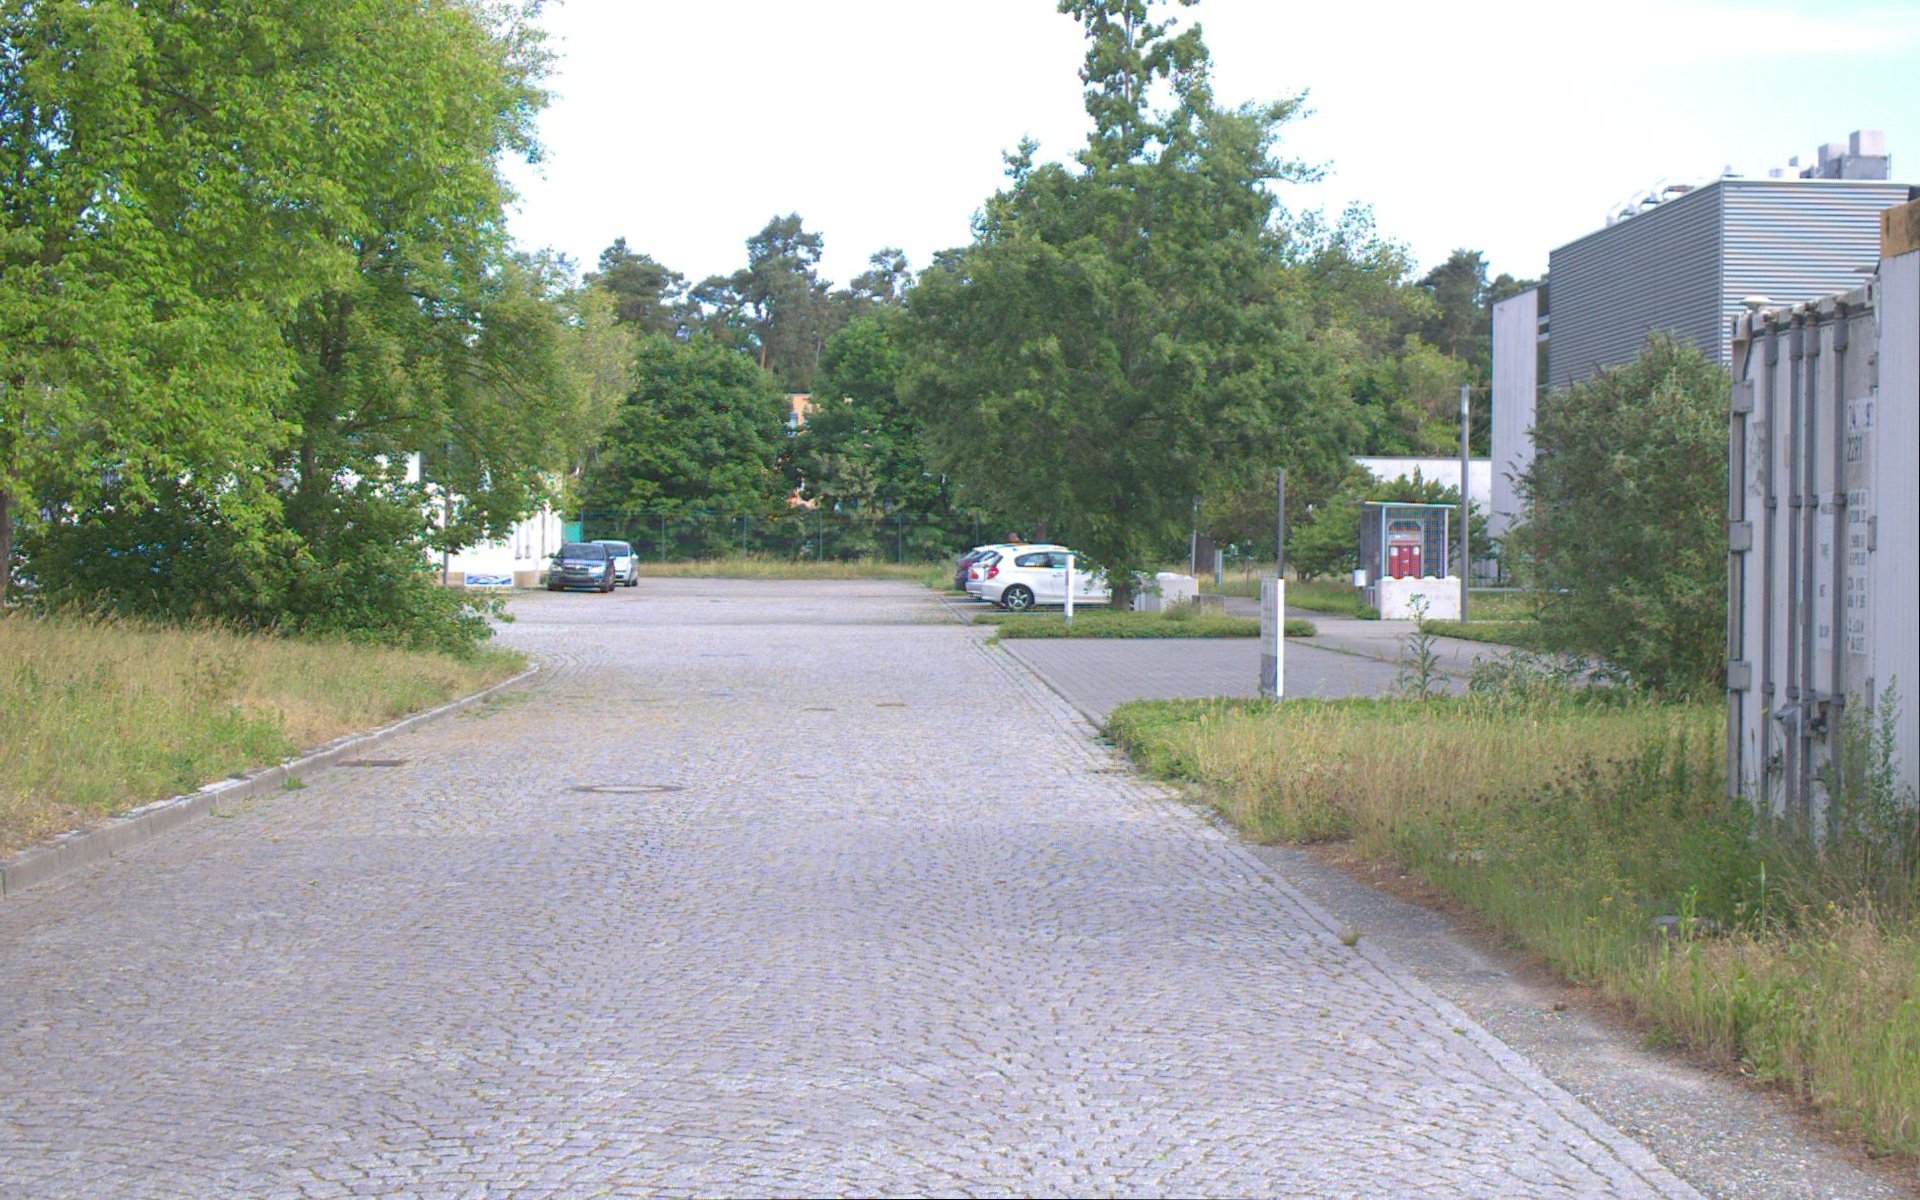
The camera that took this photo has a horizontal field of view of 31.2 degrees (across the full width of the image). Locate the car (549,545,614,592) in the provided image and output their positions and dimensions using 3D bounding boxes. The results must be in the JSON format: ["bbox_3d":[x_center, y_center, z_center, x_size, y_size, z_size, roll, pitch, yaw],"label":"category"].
[{"bbox_3d":[-11.150,-0.949,101.386,1.748,1.359,4.001,0,1,-4],"label":"car"}]

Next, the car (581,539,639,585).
[{"bbox_3d":[-11.361,-1.256,111.613,1.748,1.449,4.001,0,1,-4],"label":"car"}]

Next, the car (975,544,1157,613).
[{"bbox_3d":[2.376,-0.481,77.730,3.987,1.450,2.000,1,0,-1],"label":"car"}]

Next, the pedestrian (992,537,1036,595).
[{"bbox_3d":[1.461,-0.922,93.298,0.969,1.563,0.942,1,1,17],"label":"pedestrian"}]

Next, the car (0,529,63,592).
[{"bbox_3d":[-24.485,-1.032,88.194,1.900,1.569,4.000,0,1,0],"label":"car"}]

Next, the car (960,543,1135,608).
[{"bbox_3d":[2.011,-0.578,79.890,3.987,1.450,1.697,0,1,-1],"label":"car"}]

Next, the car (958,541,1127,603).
[{"bbox_3d":[1.971,-0.673,82.930,3.987,1.450,1.770,0,1,-1],"label":"car"}]

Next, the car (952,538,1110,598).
[{"bbox_3d":[1.856,-0.851,91.048,3.986,1.528,2.000,0,1,-5],"label":"car"}]

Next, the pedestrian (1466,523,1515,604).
[{"bbox_3d":[13.359,-0.927,86.642,0.920,2.007,1.147,0,1,-7],"label":"pedestrian"}]
